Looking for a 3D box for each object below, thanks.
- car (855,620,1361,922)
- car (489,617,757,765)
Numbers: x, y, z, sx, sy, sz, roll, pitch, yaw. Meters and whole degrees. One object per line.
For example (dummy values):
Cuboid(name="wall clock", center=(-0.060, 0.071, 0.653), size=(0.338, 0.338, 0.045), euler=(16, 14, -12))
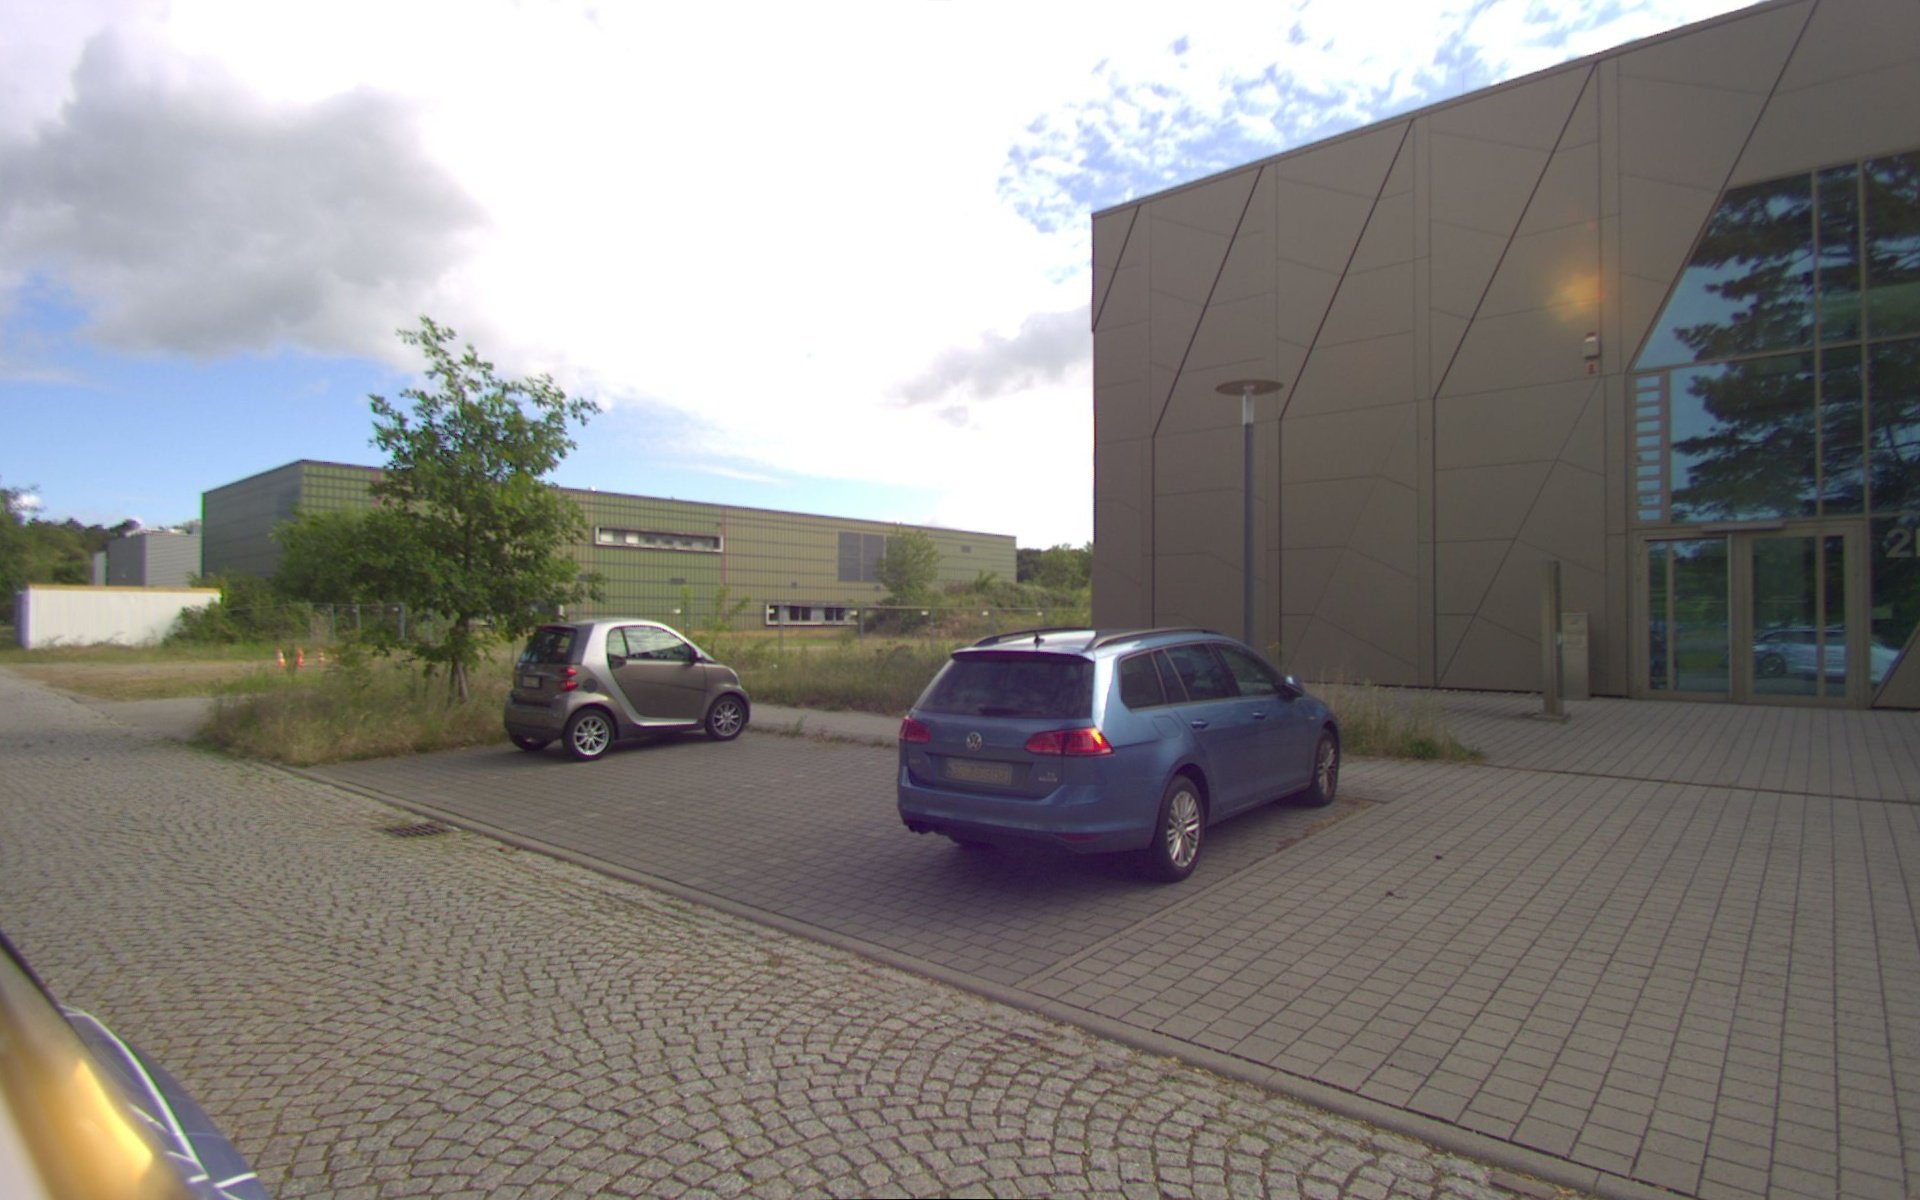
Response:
Cuboid(name="car", center=(1.359, 0.913, 7.353), size=(1.771, 1.439, 4.264), euler=(-1, -1, 38))
Cuboid(name="car", center=(-4.020, 0.996, 12.248), size=(1.609, 1.523, 2.627), euler=(-1, -1, 40))
